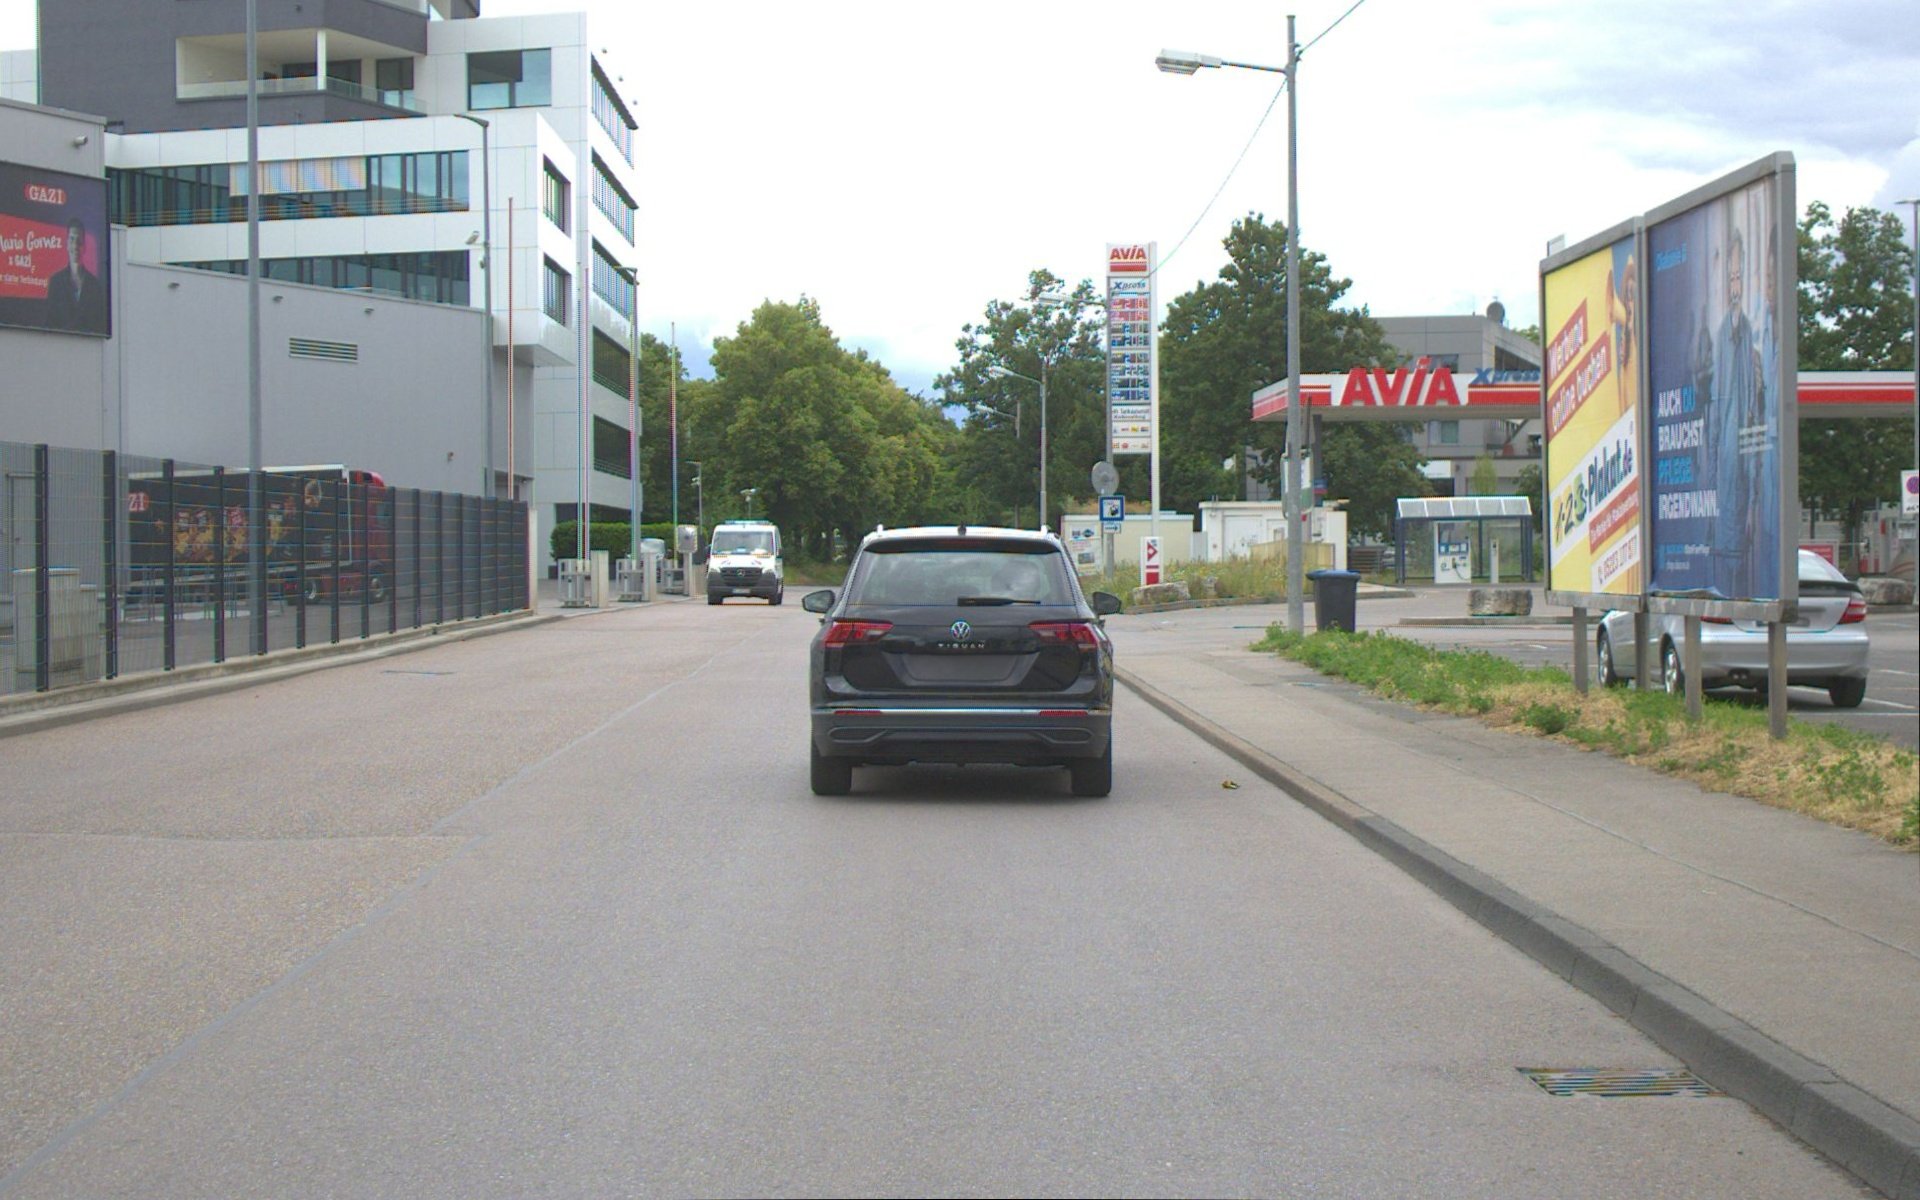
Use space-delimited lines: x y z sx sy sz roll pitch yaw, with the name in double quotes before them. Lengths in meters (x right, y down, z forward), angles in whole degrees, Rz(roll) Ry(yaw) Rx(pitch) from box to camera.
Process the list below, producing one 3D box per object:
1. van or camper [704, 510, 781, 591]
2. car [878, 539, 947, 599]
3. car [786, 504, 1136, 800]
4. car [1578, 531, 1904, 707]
"van or camper" -6.206 -1.423 98.314 1.993 2.248 4.000 0 1 -1
"car" -1.427 -0.942 101.878 1.993 1.678 4.372 0 2 -1
"car" -0.020 0.272 21.798 1.993 1.678 4.371 0 1 -1
"car" 6.988 0.131 31.223 1.889 1.440 4.429 2 1 0
